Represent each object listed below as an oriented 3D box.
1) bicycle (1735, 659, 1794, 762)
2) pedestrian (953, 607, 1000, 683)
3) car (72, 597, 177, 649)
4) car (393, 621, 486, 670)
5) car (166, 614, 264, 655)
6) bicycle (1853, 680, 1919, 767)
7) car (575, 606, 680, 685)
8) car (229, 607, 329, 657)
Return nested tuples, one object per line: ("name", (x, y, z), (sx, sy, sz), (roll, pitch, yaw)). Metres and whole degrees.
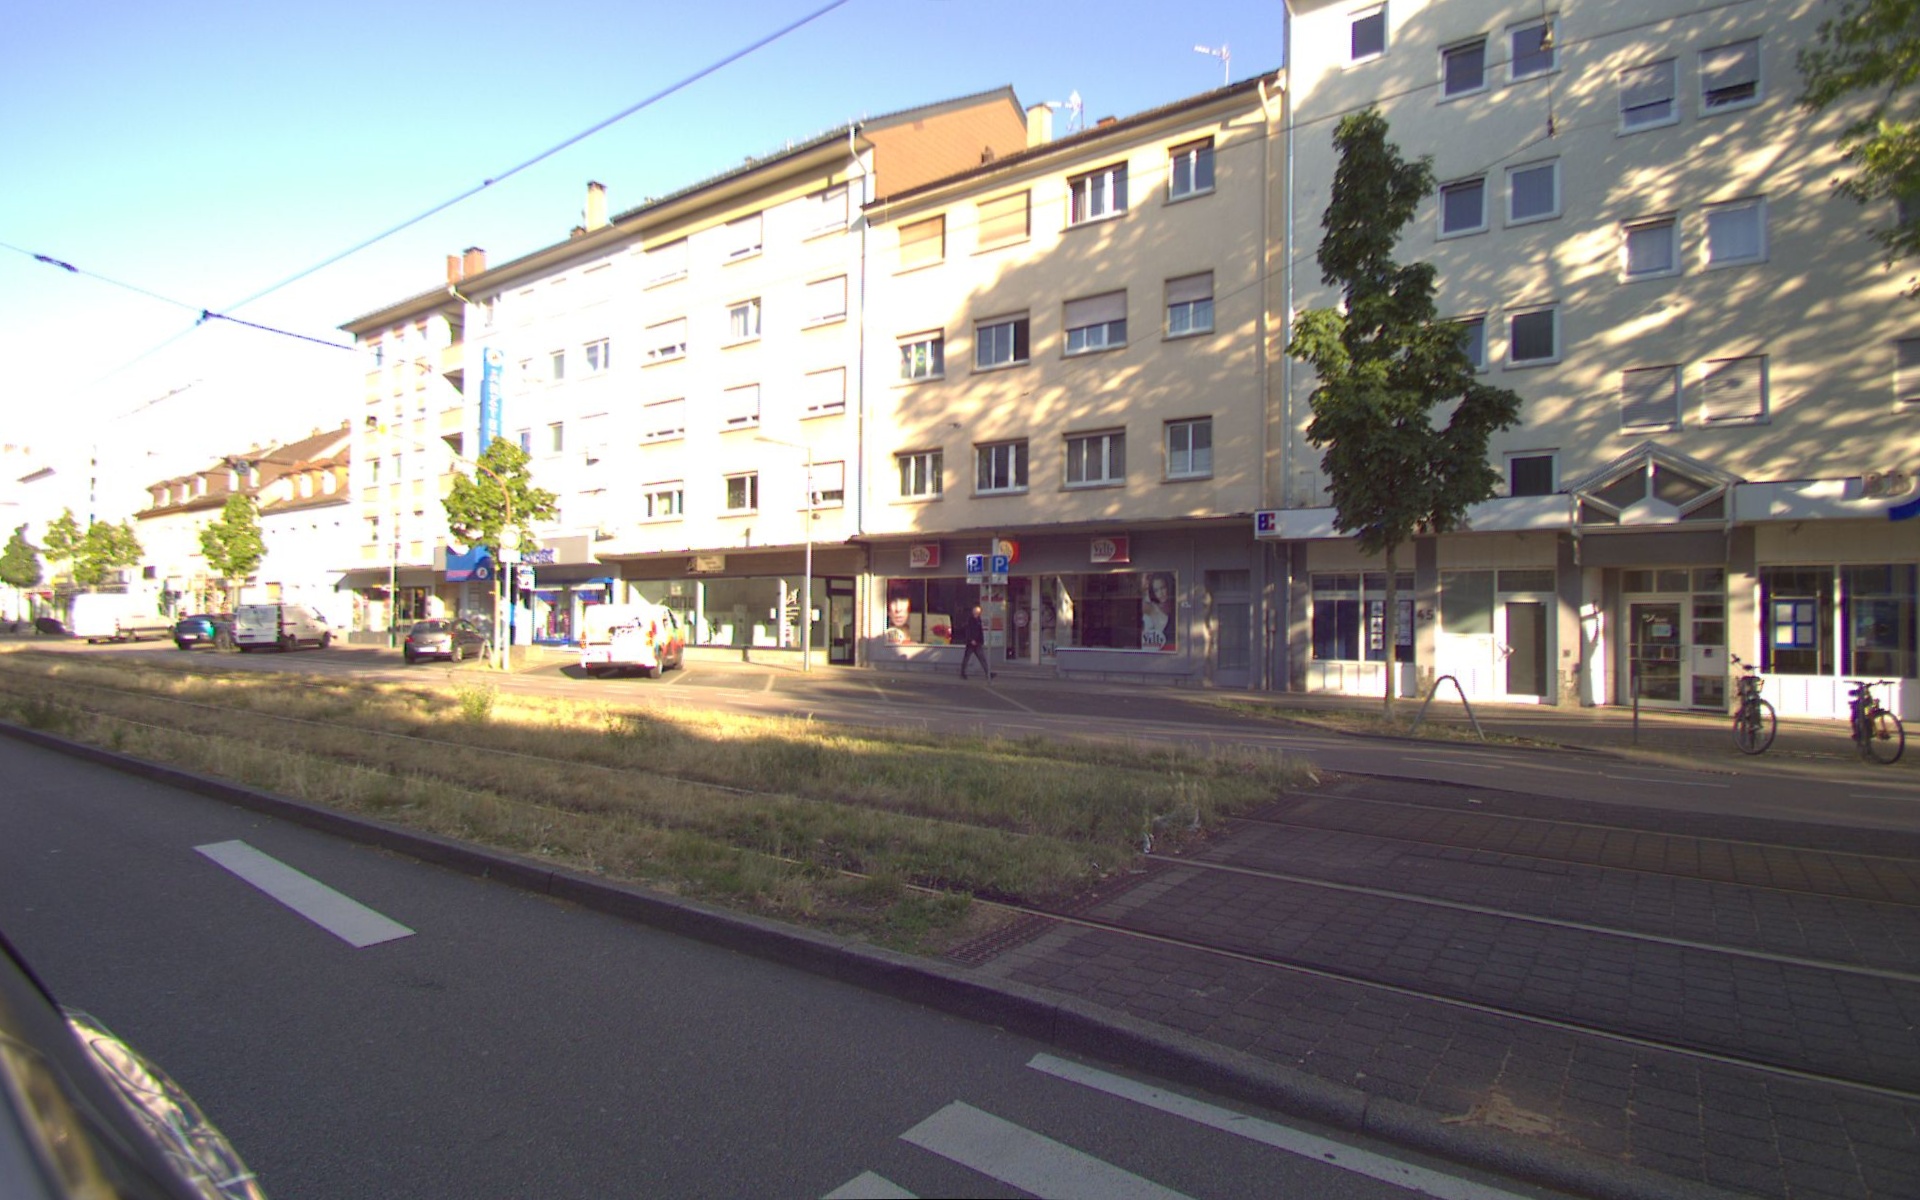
("bicycle", (10.297, 1.375, 12.982), (0.511, 1.147, 1.724), (-1, -1, 36))
("pedestrian", (0.404, 1.094, 24.925), (0.916, 1.841, 0.747), (-1, -1, 41))
("car", (-45.351, 1.205, 55.125), (1.895, 2.634, 6.608), (0, 0, -16))
("car", (-17.567, 1.489, 34.329), (1.708, 1.508, 4.009), (0, 0, -10))
("car", (-34.171, 1.547, 46.533), (1.830, 1.727, 3.919), (0, 0, -4))
("bicycle", (11.331, 1.476, 12.361), (0.471, 0.895, 1.724), (-1, -1, 36))
("car", (-8.794, 1.140, 27.096), (1.830, 1.913, 4.005), (0, 0, -6))
("car", (-28.637, 1.294, 42.728), (1.828, 1.952, 4.514), (0, 0, -10))
